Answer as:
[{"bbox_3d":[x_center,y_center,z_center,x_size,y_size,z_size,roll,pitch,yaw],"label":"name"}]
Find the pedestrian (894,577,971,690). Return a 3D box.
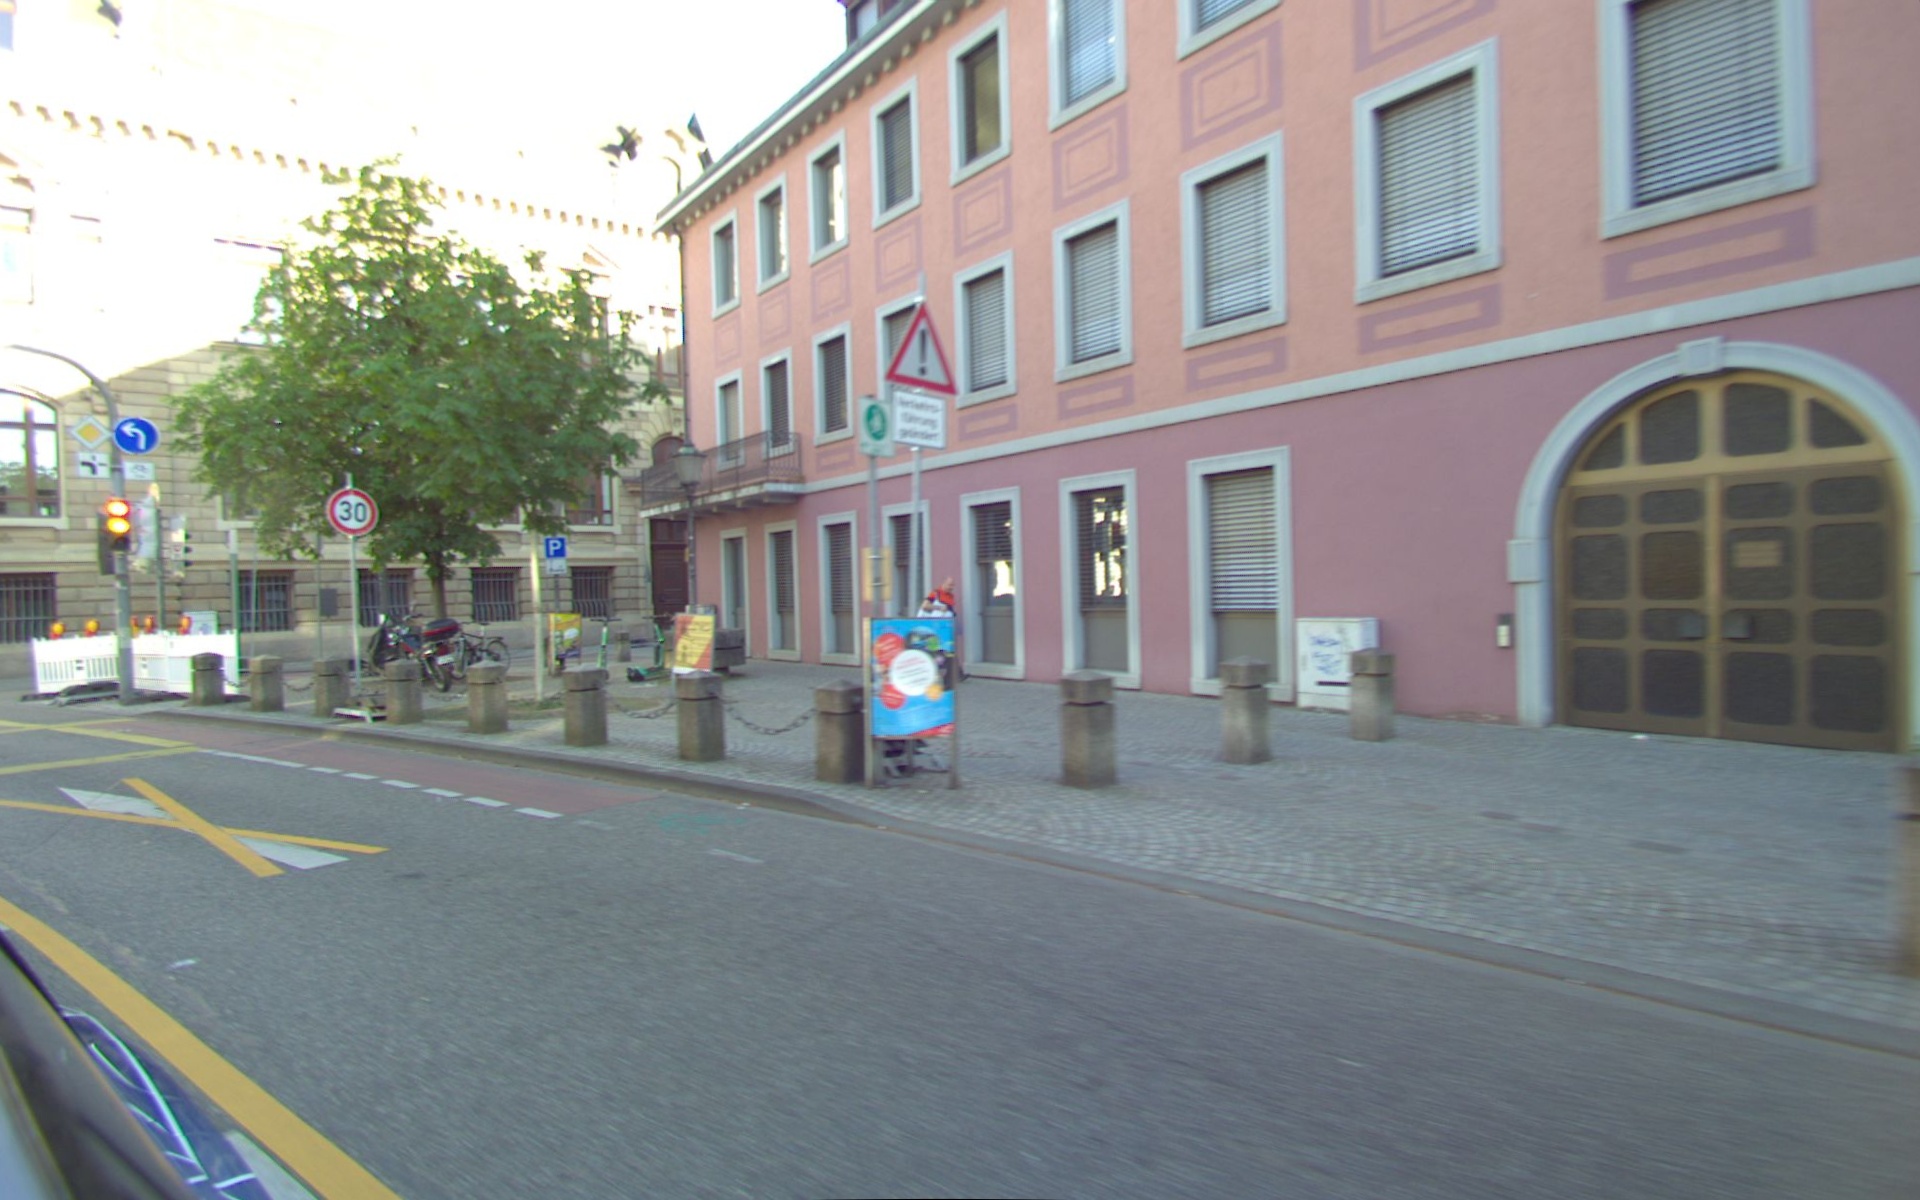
[{"bbox_3d":[-0.431,0.506,16.014,0.781,1.701,0.870,-4,2,-39],"label":"pedestrian"}]

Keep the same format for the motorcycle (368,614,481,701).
[{"bbox_3d":[-8.889,0.925,16.750,2.335,1.327,0.804,-2,0,40],"label":"motorcycle"}]

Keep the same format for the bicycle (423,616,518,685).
[{"bbox_3d":[-9.202,0.922,19.120,0.675,1.215,2.001,0,-1,6],"label":"bicycle"}]
